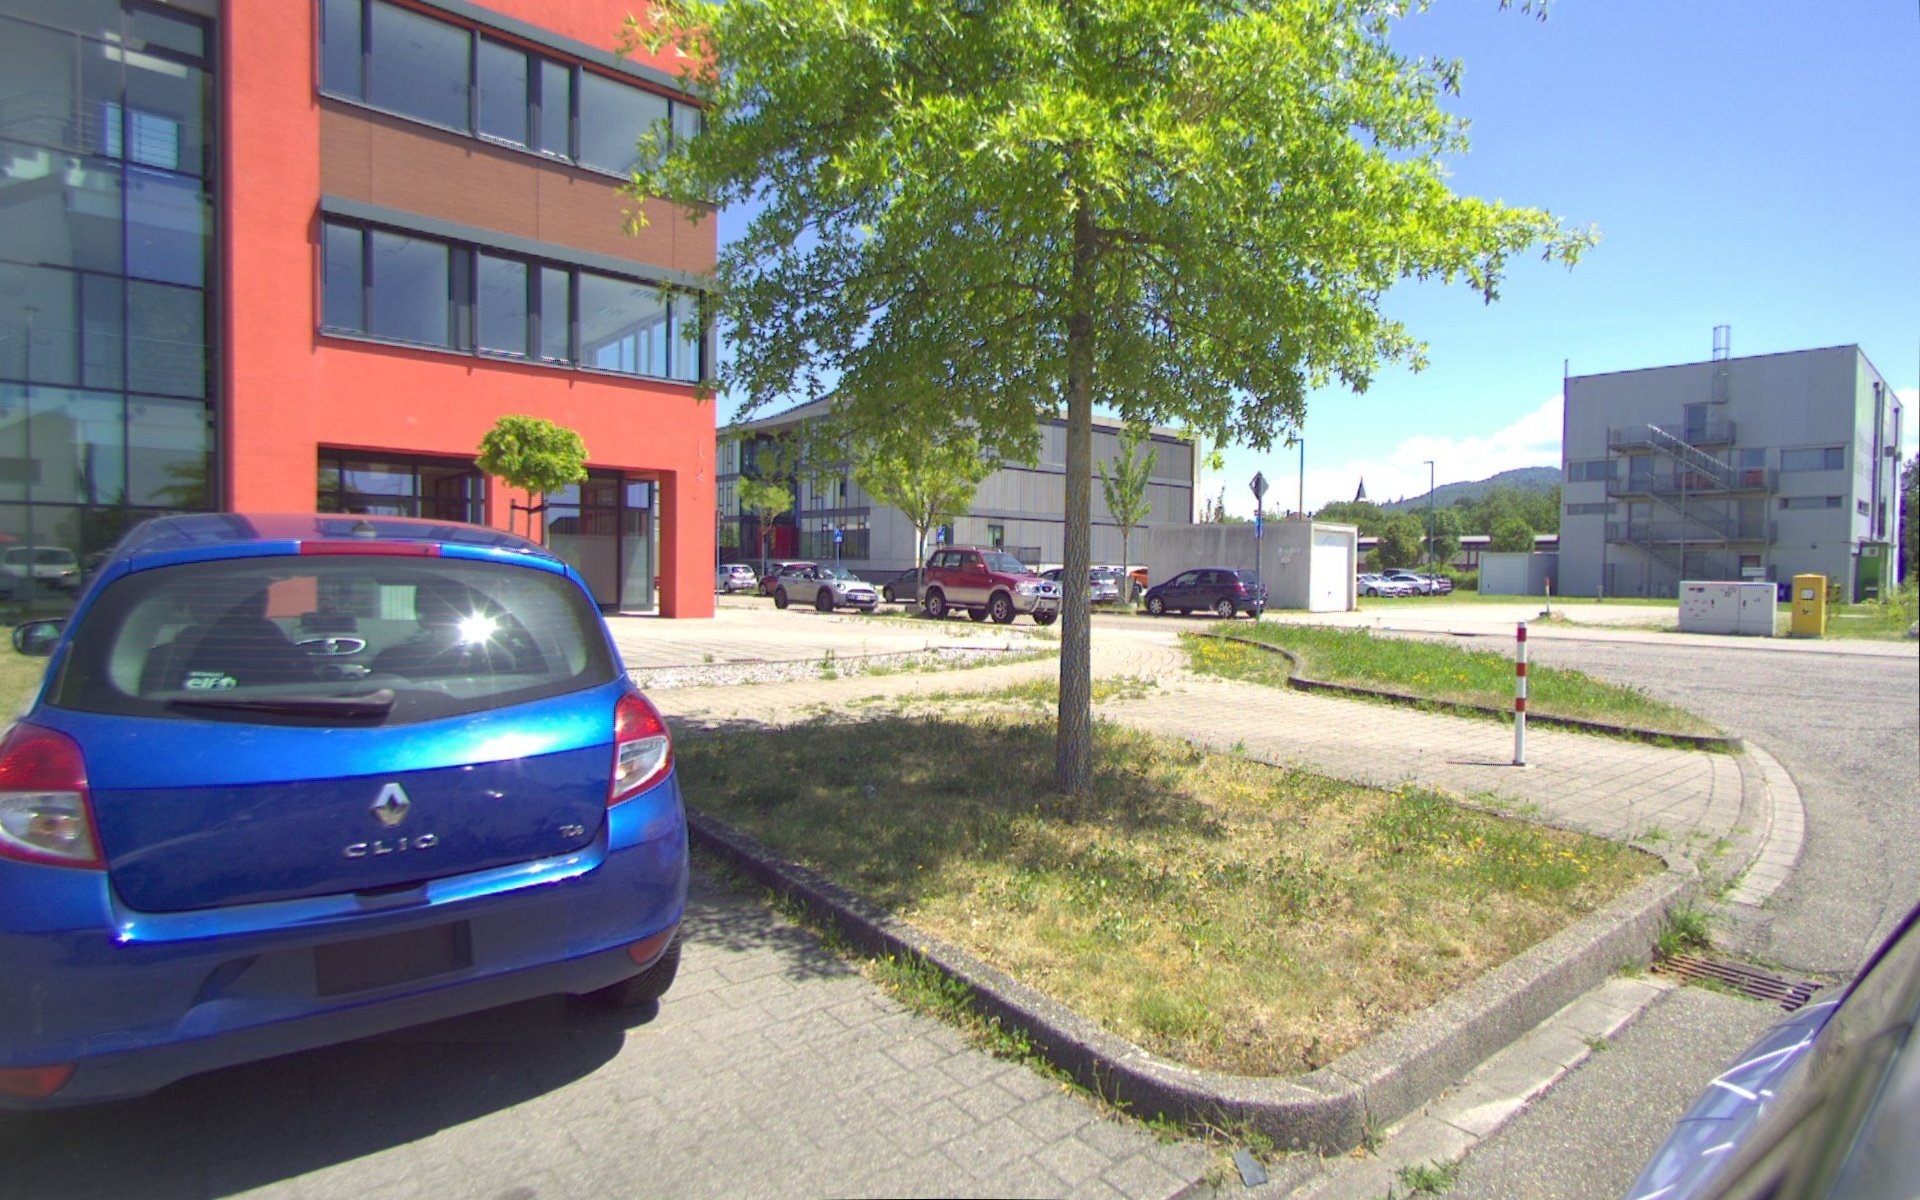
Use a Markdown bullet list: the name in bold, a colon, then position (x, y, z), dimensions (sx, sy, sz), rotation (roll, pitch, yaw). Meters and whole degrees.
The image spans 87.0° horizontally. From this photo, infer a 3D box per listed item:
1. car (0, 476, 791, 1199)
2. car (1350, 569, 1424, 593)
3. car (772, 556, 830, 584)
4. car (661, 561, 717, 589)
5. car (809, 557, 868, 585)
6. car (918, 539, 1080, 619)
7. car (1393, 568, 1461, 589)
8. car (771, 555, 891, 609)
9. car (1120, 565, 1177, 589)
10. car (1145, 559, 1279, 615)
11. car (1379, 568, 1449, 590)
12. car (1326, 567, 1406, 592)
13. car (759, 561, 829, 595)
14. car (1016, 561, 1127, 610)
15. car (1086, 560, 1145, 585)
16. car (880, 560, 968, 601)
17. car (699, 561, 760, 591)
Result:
- **car**: position (-2.313, 0.379, 3.820), dimensions (1.695, 1.508, 4.011), rotation (0, 4, -35)
- **car**: position (27.241, -1.224, 64.648), dimensions (1.630, 1.484, 4.051), rotation (-2, 3, -41)
- **car**: position (-9.441, -1.808, 60.362), dimensions (1.643, 1.487, 3.596), rotation (0, 4, 27)
- **car**: position (-15.402, -1.447, 57.481), dimensions (1.631, 1.487, 3.623), rotation (-4, 4, -41)
- **car**: position (-7.040, -1.684, 58.820), dimensions (1.643, 1.487, 3.596), rotation (0, 4, 27)
- **car**: position (0.893, -0.494, 25.029), dimensions (1.778, 1.797, 3.995), rotation (2, 0, -40)
- **car**: position (32.557, -1.530, 70.646), dimensions (1.630, 1.404, 4.051), rotation (-2, 3, -41)
- **car**: position (-3.944, -0.556, 30.579), dimensions (1.757, 1.460, 3.701), rotation (3, 0, -43)
- **car**: position (12.811, -1.579, 68.843), dimensions (1.630, 1.518, 3.625), rotation (-4, 4, -39)
- **car**: position (7.527, -0.440, 30.427), dimensions (1.655, 1.518, 3.623), rotation (-4, 4, -41)
- **car**: position (30.496, -1.448, 68.062), dimensions (1.630, 1.442, 4.051), rotation (-2, 3, -41)
- **car**: position (25.210, -1.330, 62.970), dimensions (1.680, 1.484, 4.365), rotation (-2, 3, -41)
- **car**: position (-7.998, -1.080, 48.621), dimensions (1.631, 1.487, 3.623), rotation (-4, 4, -41)
- **car**: position (3.780, -0.547, 34.710), dimensions (1.631, 1.518, 3.621), rotation (-4, 4, -42)
- **car**: position (10.012, -1.808, 65.232), dimensions (1.630, 1.518, 3.625), rotation (-4, 4, -39)
- **car**: position (-1.476, -0.819, 40.517), dimensions (1.631, 1.487, 3.623), rotation (-4, 4, -41)
- **car**: position (-12.236, -1.277, 53.630), dimensions (1.631, 1.487, 3.623), rotation (-4, 4, -41)
